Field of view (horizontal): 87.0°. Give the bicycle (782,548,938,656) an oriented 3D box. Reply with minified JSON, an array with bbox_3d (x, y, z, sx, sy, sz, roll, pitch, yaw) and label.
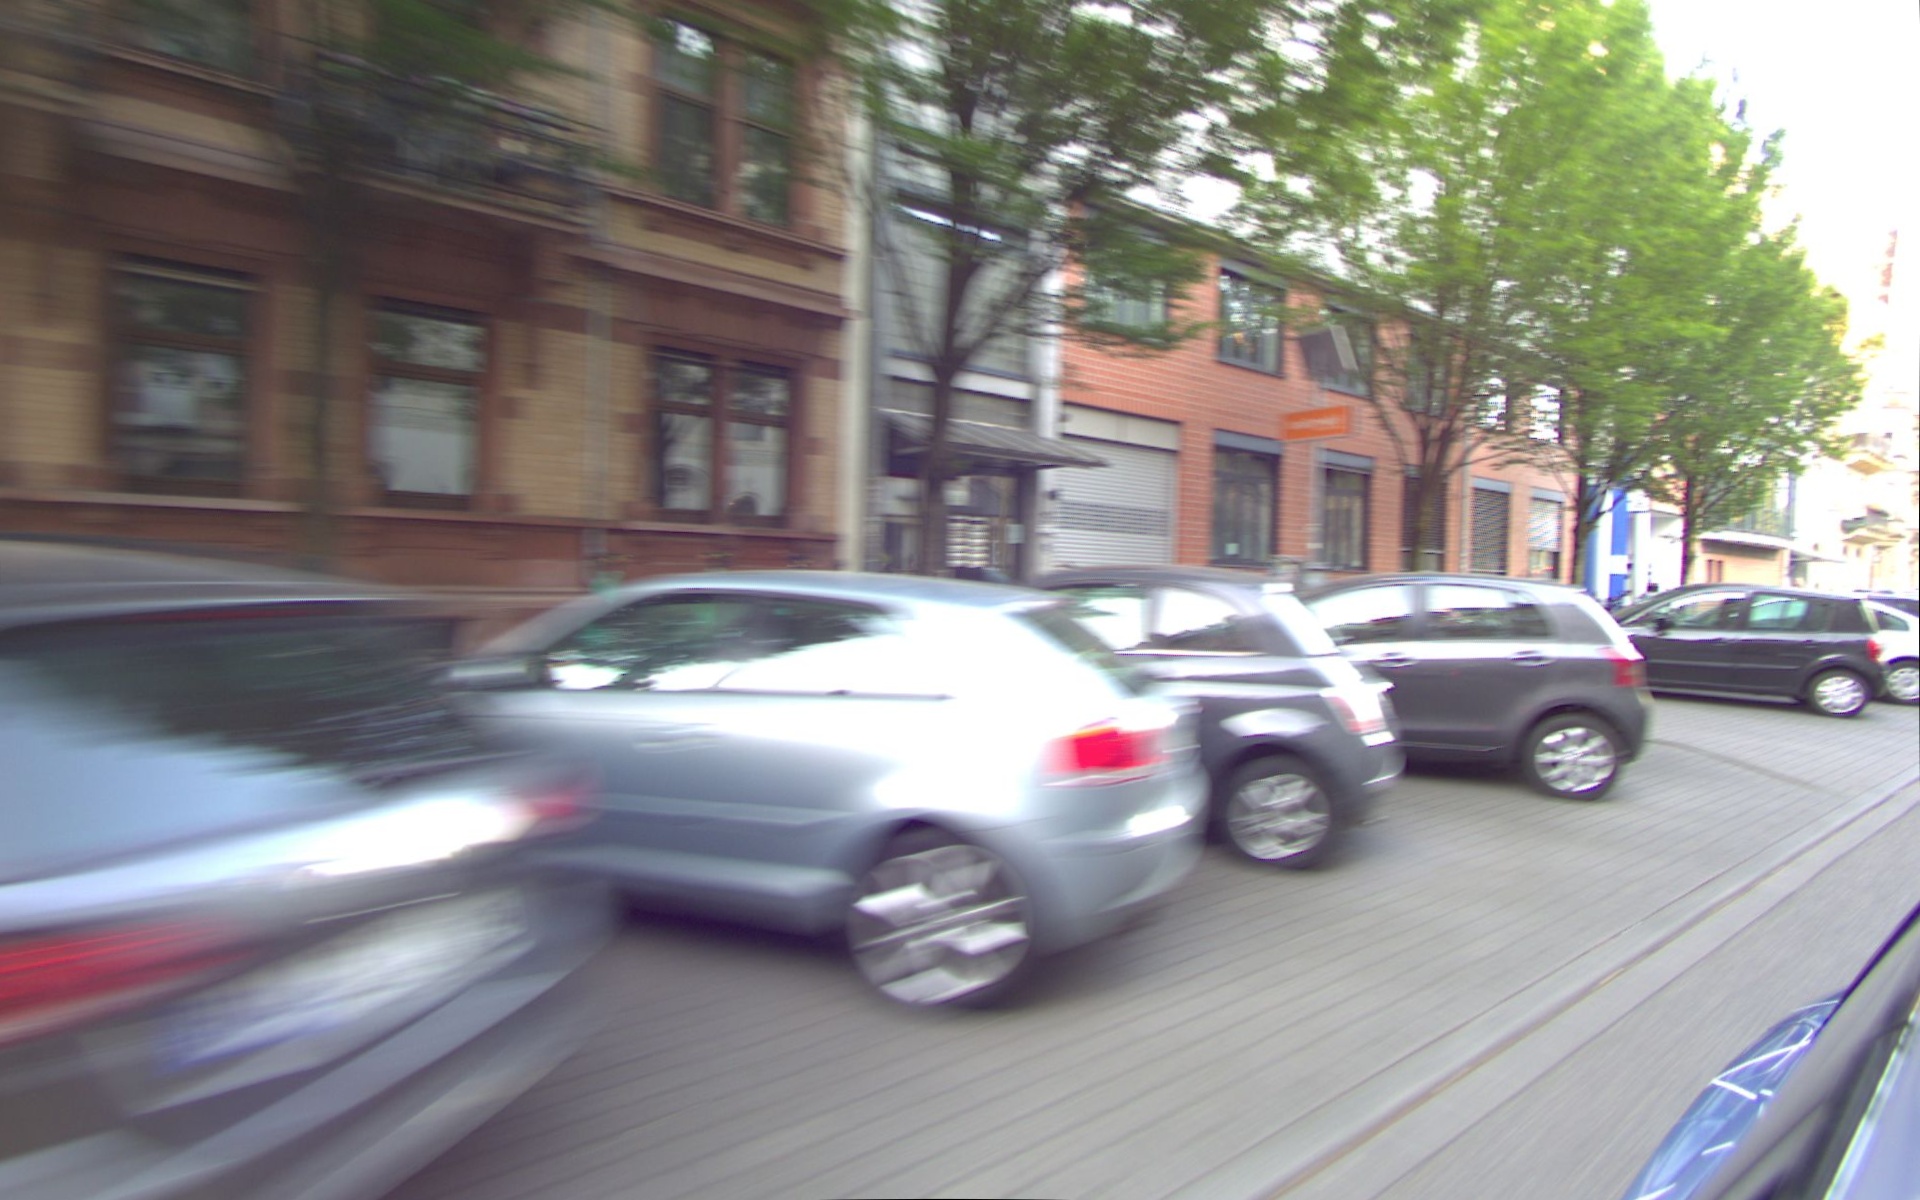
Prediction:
[{"bbox_3d":[-1.282,-0.010,12.713,2.010,1.179,0.573,5,4,34],"label":"bicycle"}]

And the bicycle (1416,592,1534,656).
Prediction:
[{"bbox_3d":[9.357,0.405,18.438,0.537,0.937,1.766,0,6,-45],"label":"bicycle"}]

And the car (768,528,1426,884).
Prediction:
[{"bbox_3d":[0.806,0.424,6.200,3.593,1.535,1.612,4,3,24],"label":"car"}]

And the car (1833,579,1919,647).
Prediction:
[{"bbox_3d":[24.394,0.397,25.017,3.793,1.536,1.665,4,4,24],"label":"car"}]

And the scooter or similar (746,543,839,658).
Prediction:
[{"bbox_3d":[-1.927,-0.003,11.653,1.044,1.297,0.330,0,0,-9],"label":"scooter or similar"}]

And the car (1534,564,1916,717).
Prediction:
[{"bbox_3d":[9.955,0.416,13.598,3.804,1.584,1.661,5,4,30],"label":"car"}]

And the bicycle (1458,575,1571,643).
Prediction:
[{"bbox_3d":[10.742,0.157,19.658,0.537,1.113,1.766,0,6,-45],"label":"bicycle"}]

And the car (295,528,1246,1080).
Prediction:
[{"bbox_3d":[-0.722,0.514,4.361,3.588,1.437,1.820,4,3,20],"label":"car"}]

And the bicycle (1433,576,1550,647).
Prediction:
[{"bbox_3d":[9.878,0.179,18.859,0.537,1.113,1.766,0,6,-45],"label":"bicycle"}]

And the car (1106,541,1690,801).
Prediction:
[{"bbox_3d":[3.201,0.403,8.011,3.752,1.535,1.640,4,3,19],"label":"car"}]

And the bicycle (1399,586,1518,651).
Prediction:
[{"bbox_3d":[8.872,0.307,18.070,0.537,0.937,1.767,0,6,-45],"label":"bicycle"}]

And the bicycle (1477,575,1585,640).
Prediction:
[{"bbox_3d":[11.573,0.130,20.555,0.537,1.113,1.766,0,6,-45],"label":"bicycle"}]

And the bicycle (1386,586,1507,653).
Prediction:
[{"bbox_3d":[8.459,0.315,17.658,0.537,0.937,1.767,0,6,-45],"label":"bicycle"}]

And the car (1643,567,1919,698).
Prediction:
[{"bbox_3d":[12.496,0.435,14.767,3.791,1.584,1.666,4,4,22],"label":"car"}]

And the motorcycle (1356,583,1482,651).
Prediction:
[{"bbox_3d":[7.727,0.261,17.156,0.578,0.937,1.993,2,5,-25],"label":"motorcycle"}]

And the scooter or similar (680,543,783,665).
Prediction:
[{"bbox_3d":[-2.469,0.040,10.984,1.045,1.297,0.330,0,0,-1],"label":"scooter or similar"}]

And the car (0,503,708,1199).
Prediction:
[{"bbox_3d":[-2.910,0.497,2.400,4.112,1.506,1.823,4,3,16],"label":"car"}]

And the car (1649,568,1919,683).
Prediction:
[{"bbox_3d":[14.057,0.372,16.920,3.791,1.584,1.666,4,4,22],"label":"car"}]

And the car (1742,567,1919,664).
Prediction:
[{"bbox_3d":[18.140,0.311,20.041,3.795,1.668,1.665,4,4,25],"label":"car"}]

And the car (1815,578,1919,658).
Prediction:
[{"bbox_3d":[20.885,0.449,21.412,3.787,1.536,1.668,4,4,19],"label":"car"}]

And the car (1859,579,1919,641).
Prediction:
[{"bbox_3d":[26.530,0.361,26.791,3.813,1.536,1.657,5,5,36],"label":"car"}]

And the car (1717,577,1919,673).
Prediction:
[{"bbox_3d":[16.191,0.448,18.126,3.791,1.447,1.666,4,4,22],"label":"car"}]

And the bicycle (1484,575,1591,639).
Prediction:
[{"bbox_3d":[11.960,0.122,20.986,0.537,1.113,1.766,0,6,-45],"label":"bicycle"}]

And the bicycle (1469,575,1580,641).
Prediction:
[{"bbox_3d":[11.186,0.141,20.114,0.537,1.113,1.766,0,6,-45],"label":"bicycle"}]

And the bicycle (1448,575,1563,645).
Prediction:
[{"bbox_3d":[10.339,0.166,19.232,0.537,1.113,1.766,0,6,-45],"label":"bicycle"}]
